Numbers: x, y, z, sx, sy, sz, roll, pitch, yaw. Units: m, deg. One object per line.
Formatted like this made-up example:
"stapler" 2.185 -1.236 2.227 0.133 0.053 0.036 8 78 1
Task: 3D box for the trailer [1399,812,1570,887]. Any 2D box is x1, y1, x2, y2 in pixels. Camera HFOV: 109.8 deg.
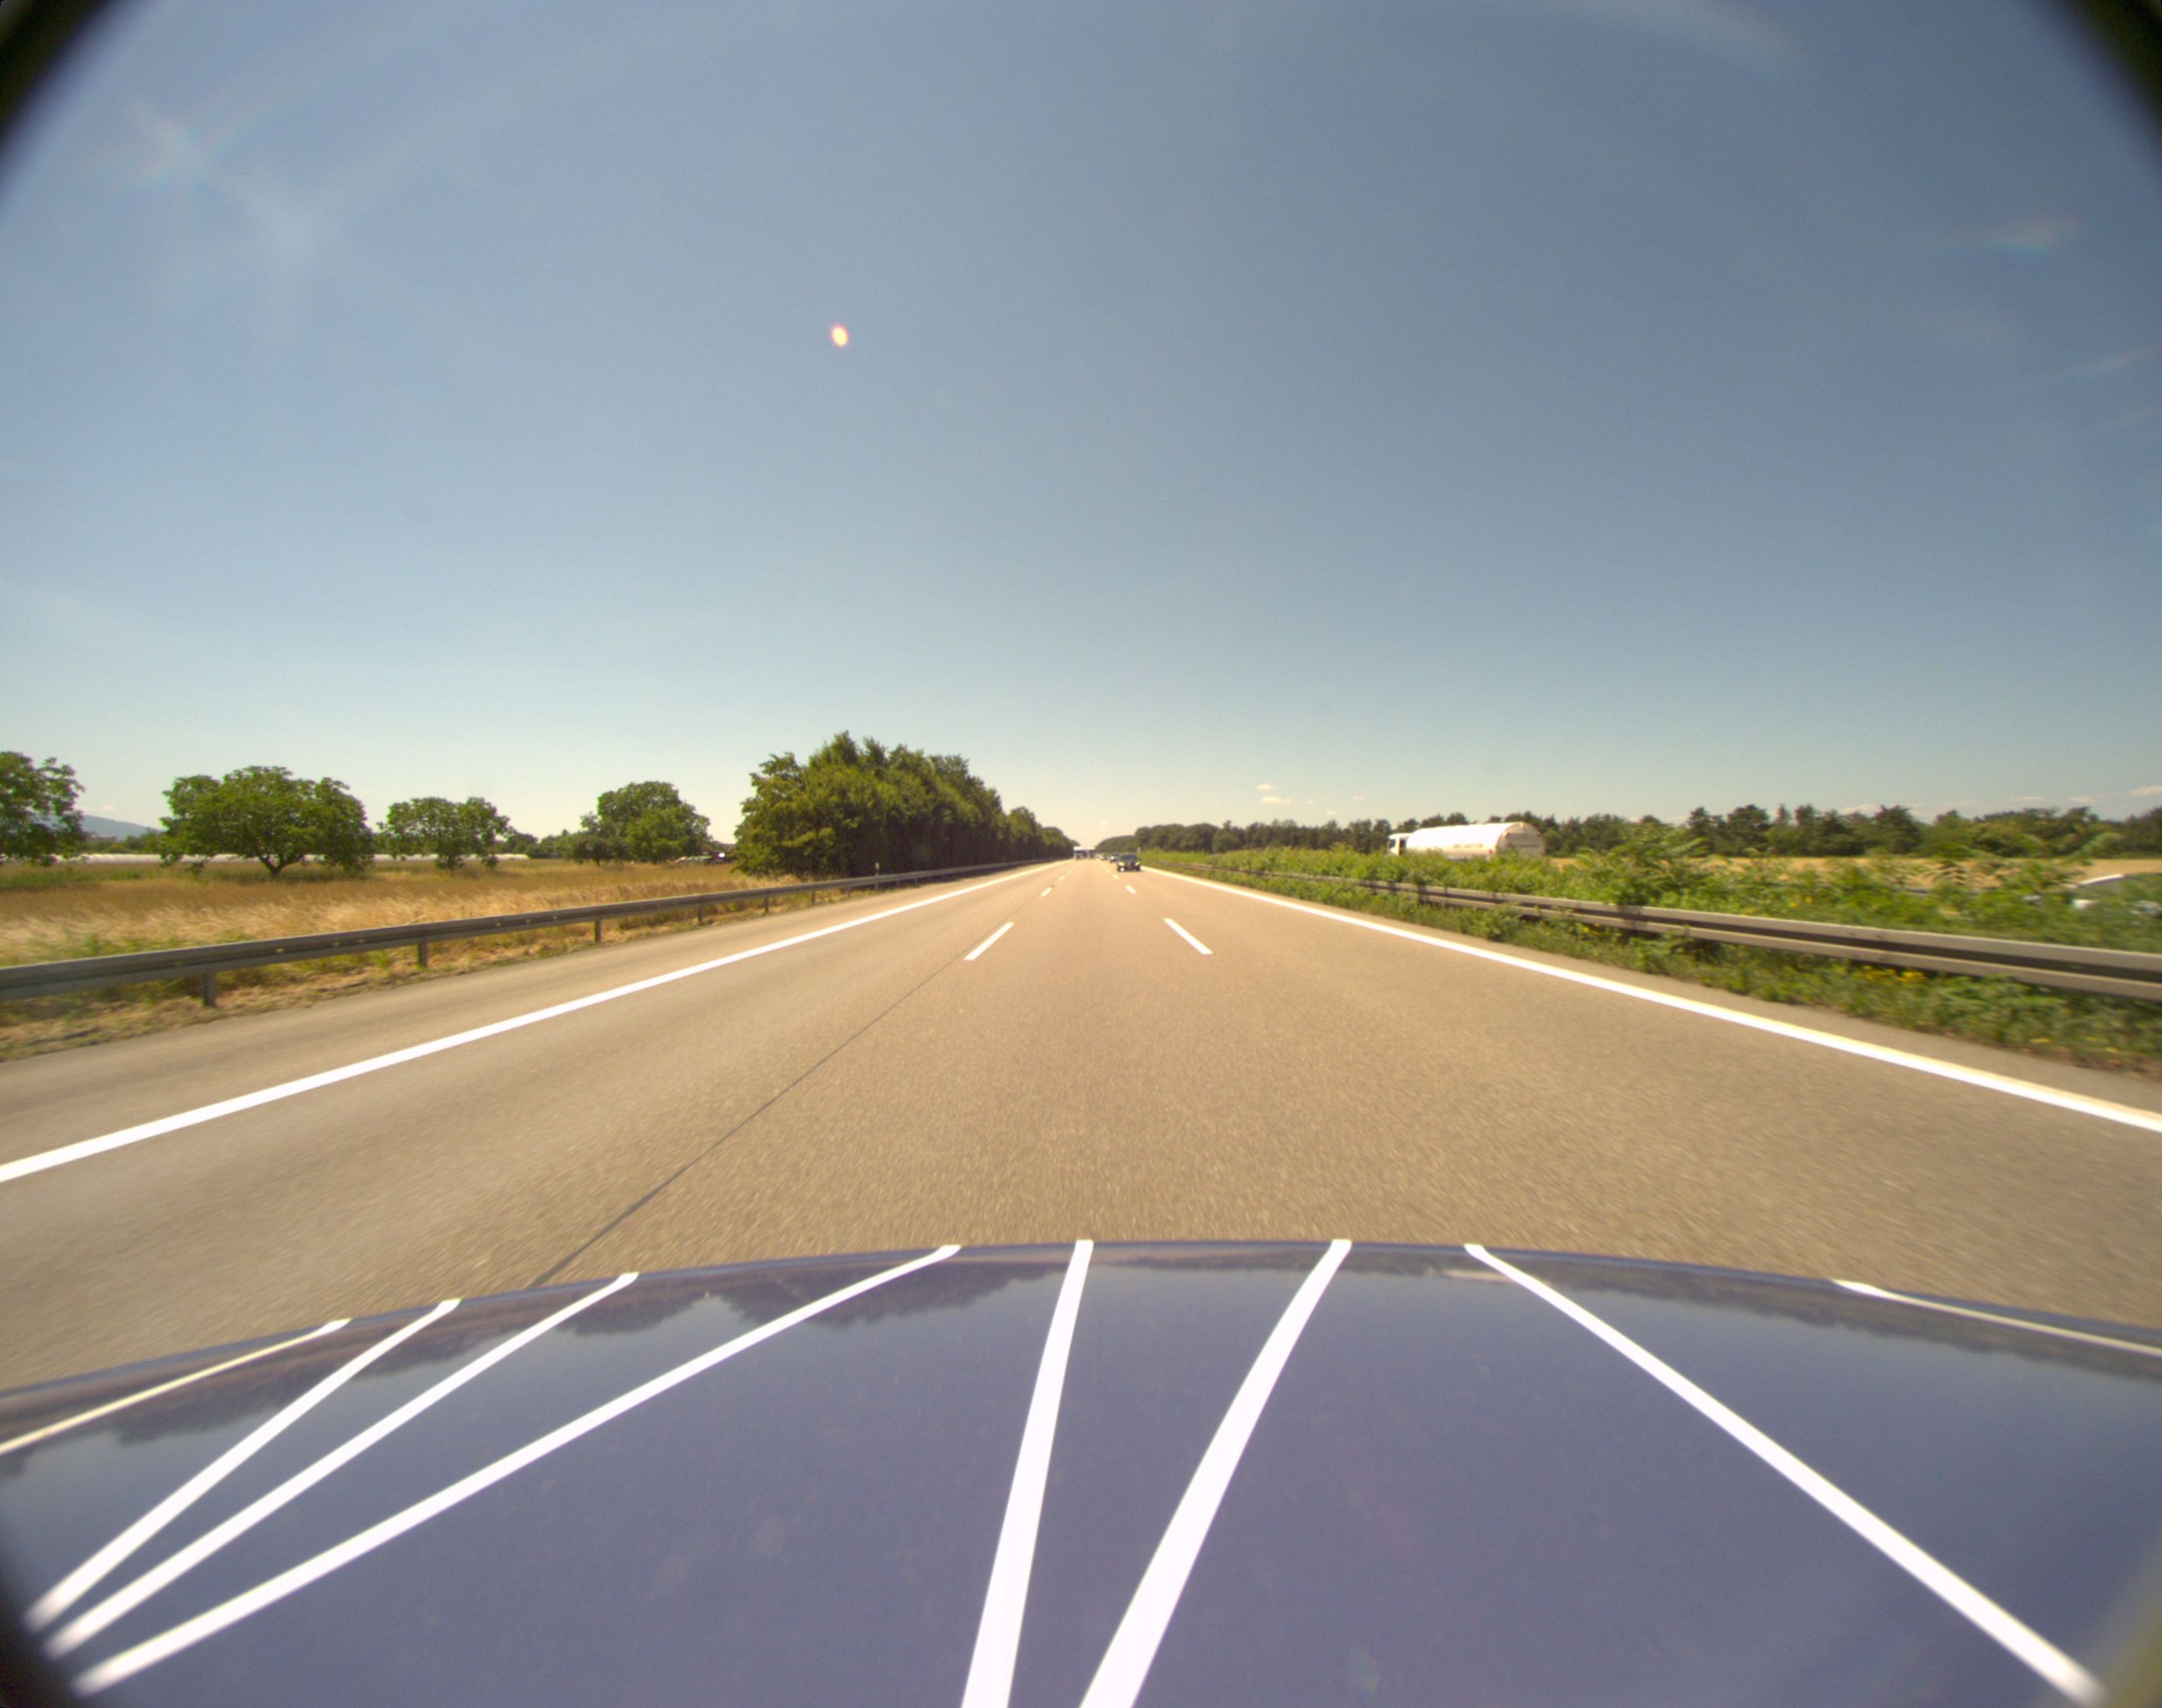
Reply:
"trailer" 21.572 -0.238 41.858 3.235 3.496 11.769 -1 0 1

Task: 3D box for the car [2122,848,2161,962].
"car" 16.742 0.758 9.564 1.809 1.674 4.000 0 0 1

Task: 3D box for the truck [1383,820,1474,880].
"truck" 21.627 -0.265 47.672 3.235 3.496 5.434 -1 0 0

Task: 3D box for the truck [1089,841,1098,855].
"truck" 4.156 -1.998 253.547 2.863 4.247 5.411 -2 0 1

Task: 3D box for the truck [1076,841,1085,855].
"truck" -0.150 -1.729 240.701 2.863 4.247 6.863 -2 0 0

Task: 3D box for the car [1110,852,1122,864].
"car" 5.606 0.624 120.925 1.806 1.774 4.000 -1 0 1

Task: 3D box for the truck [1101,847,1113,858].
"truck" 6.052 -0.376 177.062 2.576 2.461 5.615 -2 0 1

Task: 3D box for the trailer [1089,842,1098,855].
"trailer" 4.215 -1.995 259.818 2.863 4.247 11.472 -2 0 1

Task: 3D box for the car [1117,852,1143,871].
"car" 4.006 0.621 62.911 1.811 1.399 3.999 -4 0 0

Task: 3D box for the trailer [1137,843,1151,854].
"trailer" 22.523 -1.853 272.019 3.358 3.677 14.381 -2 0 0
